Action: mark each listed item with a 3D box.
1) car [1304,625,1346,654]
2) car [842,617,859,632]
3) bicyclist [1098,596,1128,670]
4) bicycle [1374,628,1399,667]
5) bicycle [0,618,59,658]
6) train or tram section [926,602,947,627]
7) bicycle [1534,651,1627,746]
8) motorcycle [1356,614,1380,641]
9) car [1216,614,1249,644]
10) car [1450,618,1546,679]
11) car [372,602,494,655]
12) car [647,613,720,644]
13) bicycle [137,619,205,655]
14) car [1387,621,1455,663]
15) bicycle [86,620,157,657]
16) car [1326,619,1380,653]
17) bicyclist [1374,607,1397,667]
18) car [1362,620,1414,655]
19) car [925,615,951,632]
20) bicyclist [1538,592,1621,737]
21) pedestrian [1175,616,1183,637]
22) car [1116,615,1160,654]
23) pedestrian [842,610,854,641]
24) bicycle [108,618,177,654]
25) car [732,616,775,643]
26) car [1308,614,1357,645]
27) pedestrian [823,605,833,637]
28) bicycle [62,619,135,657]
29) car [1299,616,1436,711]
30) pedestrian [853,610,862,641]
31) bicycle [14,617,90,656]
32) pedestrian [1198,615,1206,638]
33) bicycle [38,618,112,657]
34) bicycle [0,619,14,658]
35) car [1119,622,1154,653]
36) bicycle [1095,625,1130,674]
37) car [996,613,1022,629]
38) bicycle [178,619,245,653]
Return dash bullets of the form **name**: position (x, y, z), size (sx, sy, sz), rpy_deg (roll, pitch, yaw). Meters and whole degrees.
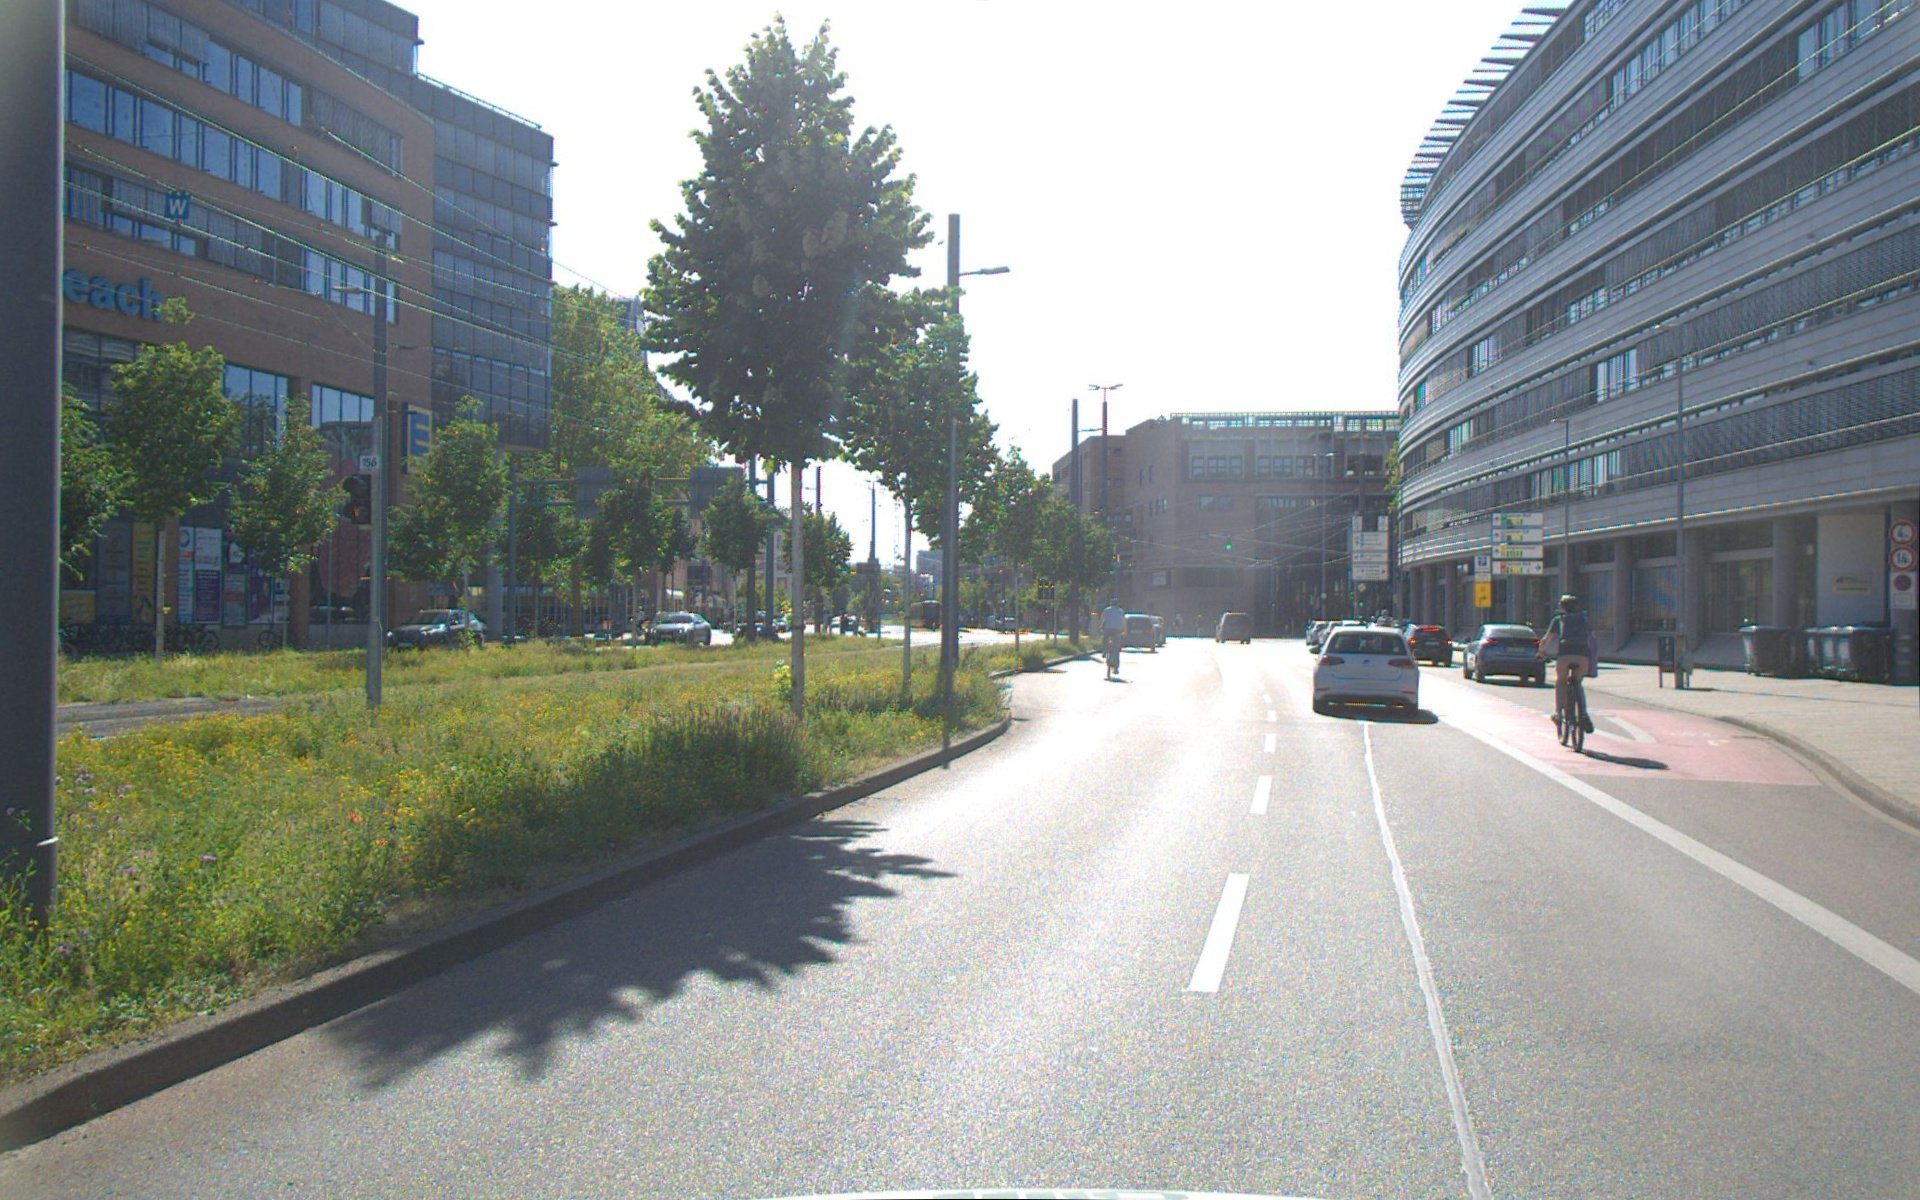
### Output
- **car**: position (21.889, 2.345, 99.329), size (1.866, 1.611, 4.140), rpy_deg (2, 0, 5)
- **car**: position (-10.817, 2.414, 163.409), size (1.578, 1.422, 3.915), rpy_deg (-3, 0, -5)
- **bicyclist**: position (3.615, 0.780, 39.062), size (0.604, 1.699, 1.020), rpy_deg (2, -1, 8)
- **bicycle**: position (12.985, 1.453, 50.396), size (0.635, 1.129, 1.759), rpy_deg (0, -3, 11)
- **bicycle**: position (-28.764, 1.151, 50.646), size (2.127, 1.143, 0.754), rpy_deg (1, -1, 17)
- **train or tram section**: position (-3.031, 1.848, 208.209), size (2.280, 3.056, 13.153), rpy_deg (0, -1, -2)
- **bicycle**: position (7.684, 1.192, 20.550), size (0.808, 1.055, 1.893), rpy_deg (2, 0, 13)
- **motorcycle**: position (19.636, 1.323, 79.584), size (0.811, 1.222, 2.392), rpy_deg (2, -1, 7)
- **car**: position (16.580, 1.734, 100.791), size (1.744, 1.732, 4.141), rpy_deg (2, 0, 7)
- **car**: position (14.488, 1.262, 44.735), size (1.685, 1.551, 4.402), rpy_deg (1, -1, 8)
- **car**: position (-18.000, 0.962, 56.732), size (1.951, 1.711, 4.542), rpy_deg (0, -1, 12)
- **car**: position (-12.371, 1.260, 74.351), size (1.951, 1.357, 4.793), rpy_deg (0, -1, 7)
- **bicycle**: position (-26.877, 1.251, 56.334), size (2.127, 1.143, 0.754), rpy_deg (1, -1, 17)
- **car**: position (17.123, 1.529, 61.609), size (1.685, 1.447, 4.640), rpy_deg (1, 0, 6)
- **bicycle**: position (-27.718, 1.275, 54.698), size (2.127, 1.143, 0.754), rpy_deg (1, -1, 17)
- **car**: position (20.391, 1.846, 85.890), size (1.867, 1.611, 4.139), rpy_deg (2, 0, 1)
- **bicyclist**: position (13.013, 1.118, 50.575), size (0.635, 1.783, 1.046), rpy_deg (0, 0, 12)
- **car**: position (18.782, 1.624, 72.738), size (1.685, 1.420, 4.791), rpy_deg (1, -1, 8)
- **car**: position (-2.345, 2.422, 171.771), size (2.220, 1.758, 3.937), rpy_deg (1, -1, -8)
- **bicyclist**: position (7.649, 0.783, 20.463), size (0.789, 1.722, 1.052), rpy_deg (2, -1, 13)
- **pedestrian**: position (16.603, 2.037, 125.482), size (0.470, 1.606, 0.413), rpy_deg (1, -1, -10)
- **car**: position (7.485, 1.428, 69.213), size (1.689, 1.591, 3.680), rpy_deg (0, -1, 8)
- **pedestrian**: position (-6.773, 1.530, 100.279), size (0.574, 1.863, 0.493), rpy_deg (1, -1, -31)
- **bicycle**: position (-27.413, 1.209, 55.463), size (2.127, 1.143, 0.754), rpy_deg (1, -1, 17)
- **car**: position (-11.098, 1.567, 88.947), size (1.397, 1.383, 3.298), rpy_deg (0, -1, 10)
- **car**: position (20.678, 1.630, 91.910), size (1.866, 1.568, 4.139), rpy_deg (2, 0, 2)
- **pedestrian**: position (-7.914, 1.255, 99.096), size (0.455, 1.863, 0.454), rpy_deg (1, -1, -31)
- **bicycle**: position (-27.659, 1.214, 53.096), size (2.127, 1.143, 0.754), rpy_deg (1, -1, 17)
- **car**: position (6.967, 1.039, 28.634), size (1.735, 1.427, 4.296), rpy_deg (3, 0, 7)
- **pedestrian**: position (-6.366, 1.583, 102.565), size (0.380, 1.863, 0.460), rpy_deg (1, -1, -24)
- **bicycle**: position (-28.279, 1.144, 51.508), size (2.127, 1.143, 0.754), rpy_deg (1, -1, 17)
- **pedestrian**: position (18.387, 2.007, 125.620), size (0.470, 1.685, 0.490), rpy_deg (1, -1, -10)
- **bicycle**: position (-27.984, 1.176, 52.296), size (2.127, 1.143, 0.754), rpy_deg (1, -1, 17)
- **bicycle**: position (-29.319, 1.111, 49.203), size (2.127, 1.143, 0.754), rpy_deg (1, -1, 17)
- **car**: position (8.748, 1.857, 82.215), size (1.690, 1.474, 4.524), rpy_deg (0, -1, 6)
- **bicycle**: position (3.633, 1.161, 39.293), size (0.672, 1.088, 2.699), rpy_deg (2, 0, 8)
- **car**: position (5.268, 2.275, 178.198), size (2.220, 1.758, 3.937), rpy_deg (1, -1, -8)
- **bicycle**: position (-26.277, 1.263, 58.055), size (2.127, 1.143, 0.754), rpy_deg (1, -1, 17)
